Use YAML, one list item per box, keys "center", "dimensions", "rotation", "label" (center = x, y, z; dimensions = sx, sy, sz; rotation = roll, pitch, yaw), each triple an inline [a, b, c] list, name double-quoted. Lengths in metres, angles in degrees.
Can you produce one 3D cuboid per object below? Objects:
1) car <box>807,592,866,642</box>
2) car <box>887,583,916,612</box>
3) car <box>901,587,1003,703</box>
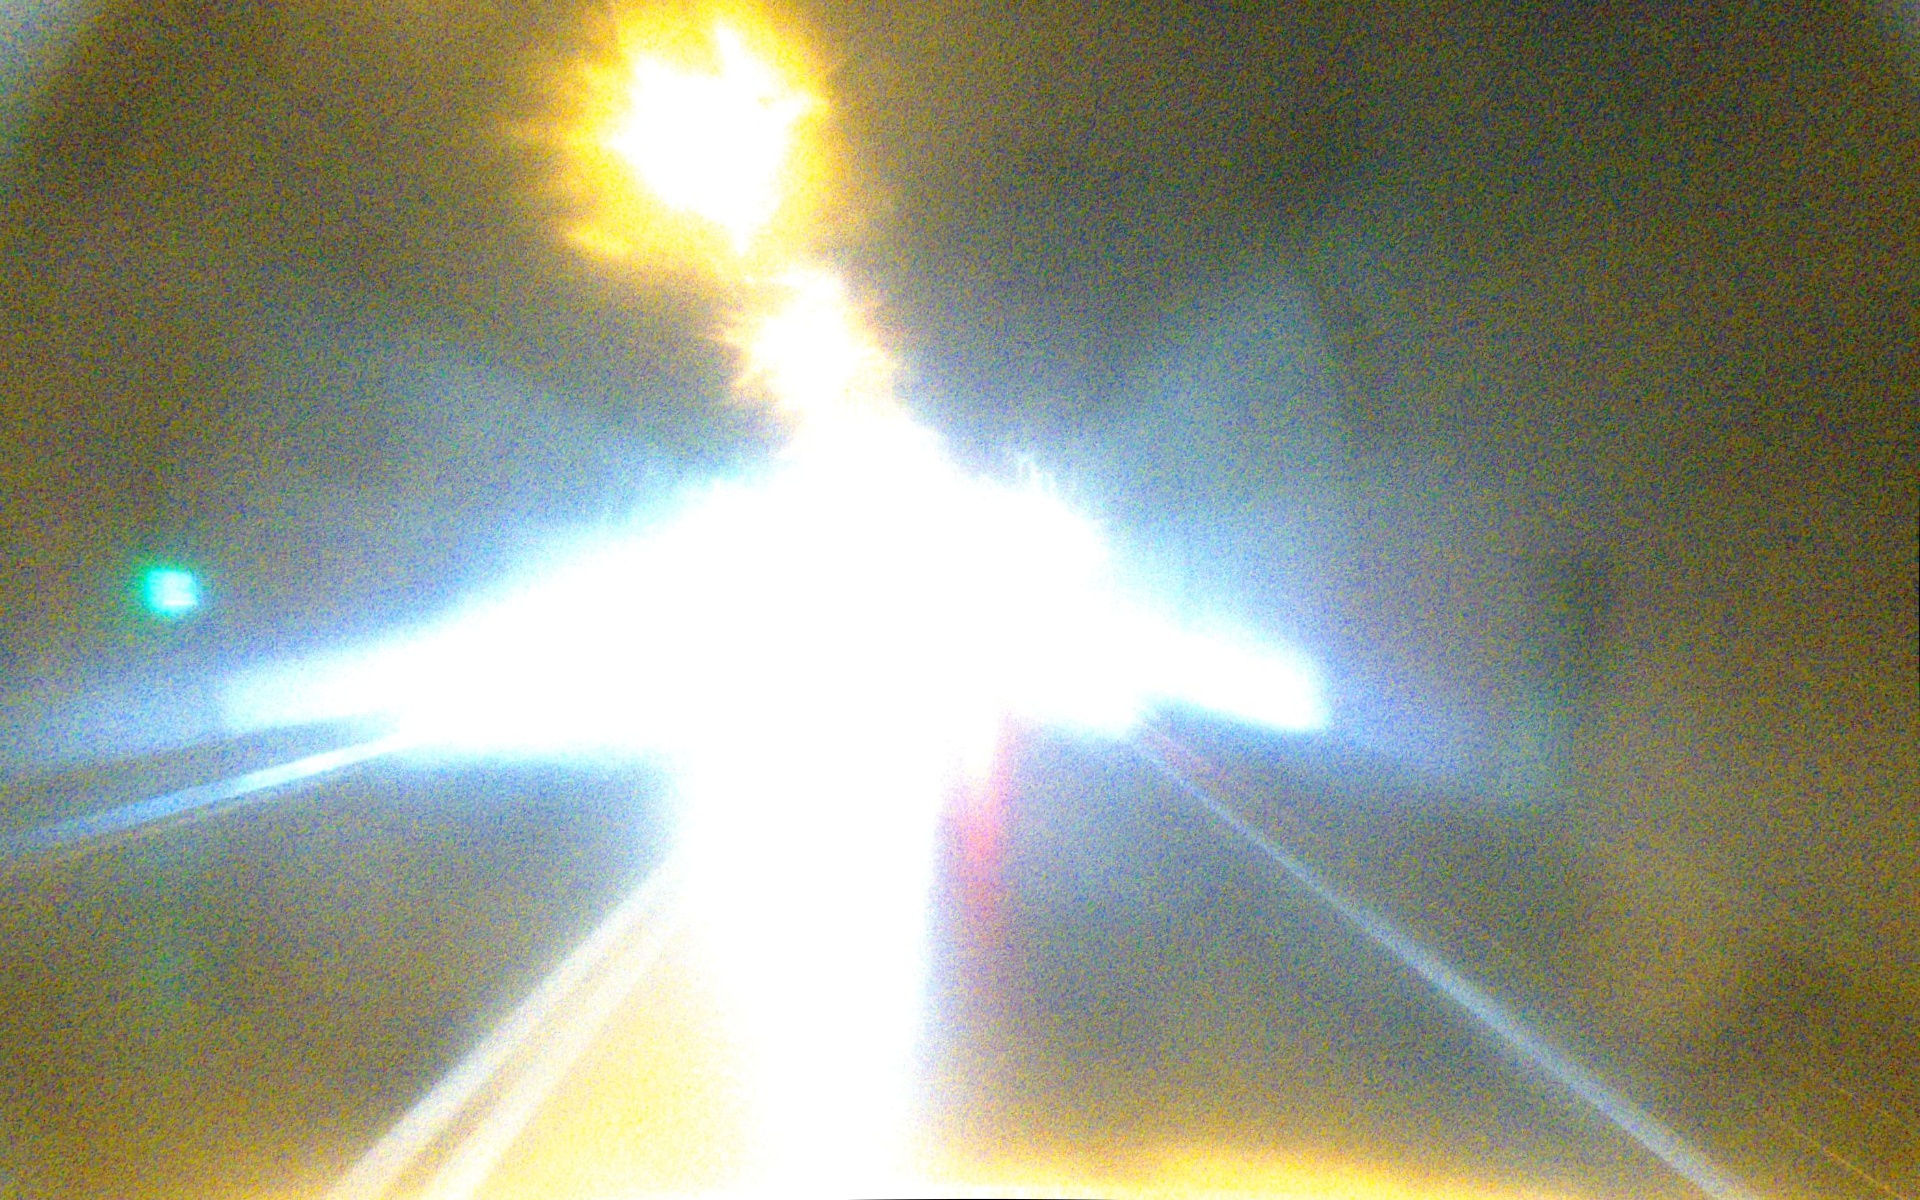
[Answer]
- center: [-3.922, 0.502, 52.951]
  dimensions: [1.741, 1.433, 4.292]
  rotation: [-1, 1, -3]
  label: "car"
- center: [-4.542, -0.210, 127.390]
  dimensions: [2.167, 2.048, 3.999]
  rotation: [-1, 1, -2]
  label: "car"
- center: [-0.119, 0.703, 28.489]
  dimensions: [1.601, 1.788, 4.146]
  rotation: [-1, 1, 0]
  label: "car"
